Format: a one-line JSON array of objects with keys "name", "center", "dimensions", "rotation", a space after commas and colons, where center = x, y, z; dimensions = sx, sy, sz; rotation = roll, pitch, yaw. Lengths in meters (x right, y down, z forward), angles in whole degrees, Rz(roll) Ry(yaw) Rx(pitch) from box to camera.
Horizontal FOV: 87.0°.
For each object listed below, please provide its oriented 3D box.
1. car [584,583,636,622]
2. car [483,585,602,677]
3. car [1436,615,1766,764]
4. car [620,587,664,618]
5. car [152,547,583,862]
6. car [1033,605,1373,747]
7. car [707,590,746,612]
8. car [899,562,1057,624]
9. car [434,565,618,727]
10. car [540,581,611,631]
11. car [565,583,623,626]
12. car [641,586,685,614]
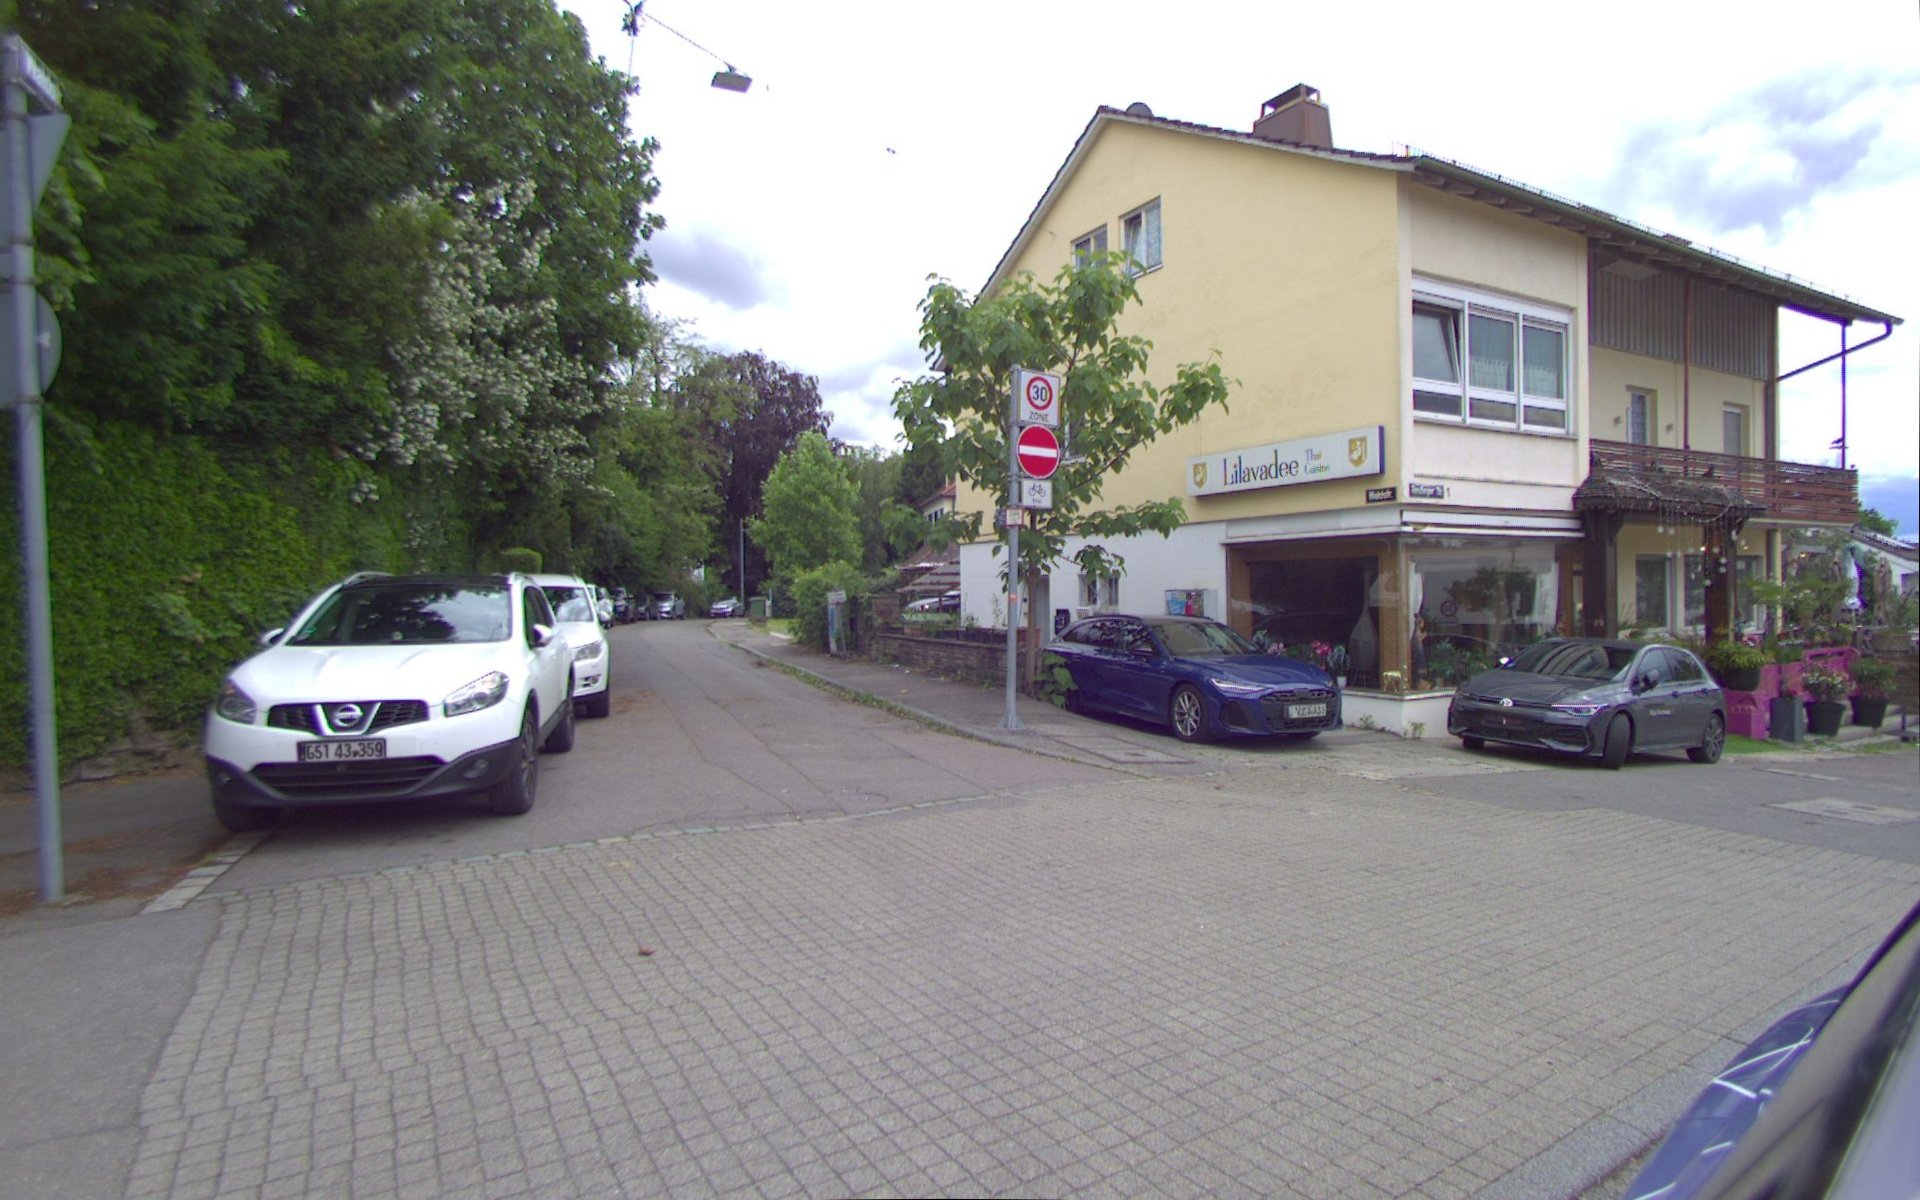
[{"name": "car", "center": [-14.285, 0.062, 41.470], "dimensions": [1.541, 1.502, 3.481], "rotation": [-1, 1, -12]}, {"name": "car", "center": [-7.434, 0.455, 18.281], "dimensions": [1.761, 1.441, 4.080], "rotation": [-1, 1, -20]}, {"name": "car", "center": [7.885, 1.079, 12.332], "dimensions": [4.242, 1.480, 1.800], "rotation": [5, -2, -34]}, {"name": "car", "center": [-16.002, 0.095, 51.055], "dimensions": [1.542, 1.502, 3.479], "rotation": [-1, 1, -8]}, {"name": "car", "center": [-3.921, 0.517, 7.506], "dimensions": [1.761, 1.643, 4.144], "rotation": [-1, 1, -16]}, {"name": "car", "center": [2.856, 0.841, 13.167], "dimensions": [1.761, 1.405, 4.758], "rotation": [2, 0, -23]}, {"name": "car", "center": [-16.447, 0.055, 71.400], "dimensions": [1.547, 1.502, 3.468], "rotation": [0, 1, 7]}, {"name": "car", "center": [0.529, -0.175, 30.032], "dimensions": [4.235, 1.480, 1.802], "rotation": [4, -2, -19]}, {"name": "car", "center": [-5.235, 0.444, 12.560], "dimensions": [1.761, 1.643, 4.080], "rotation": [-1, 1, -20]}, {"name": "car", "center": [-12.289, 0.154, 32.538], "dimensions": [1.541, 1.502, 3.745], "rotation": [-1, 1, -12]}, {"name": "car", "center": [-13.499, 0.120, 37.491], "dimensions": [1.541, 1.502, 3.481], "rotation": [-1, 1, -12]}, {"name": "car", "center": [-16.329, -0.019, 55.738], "dimensions": [1.543, 1.502, 3.476], "rotation": [0, 1, -3]}]
